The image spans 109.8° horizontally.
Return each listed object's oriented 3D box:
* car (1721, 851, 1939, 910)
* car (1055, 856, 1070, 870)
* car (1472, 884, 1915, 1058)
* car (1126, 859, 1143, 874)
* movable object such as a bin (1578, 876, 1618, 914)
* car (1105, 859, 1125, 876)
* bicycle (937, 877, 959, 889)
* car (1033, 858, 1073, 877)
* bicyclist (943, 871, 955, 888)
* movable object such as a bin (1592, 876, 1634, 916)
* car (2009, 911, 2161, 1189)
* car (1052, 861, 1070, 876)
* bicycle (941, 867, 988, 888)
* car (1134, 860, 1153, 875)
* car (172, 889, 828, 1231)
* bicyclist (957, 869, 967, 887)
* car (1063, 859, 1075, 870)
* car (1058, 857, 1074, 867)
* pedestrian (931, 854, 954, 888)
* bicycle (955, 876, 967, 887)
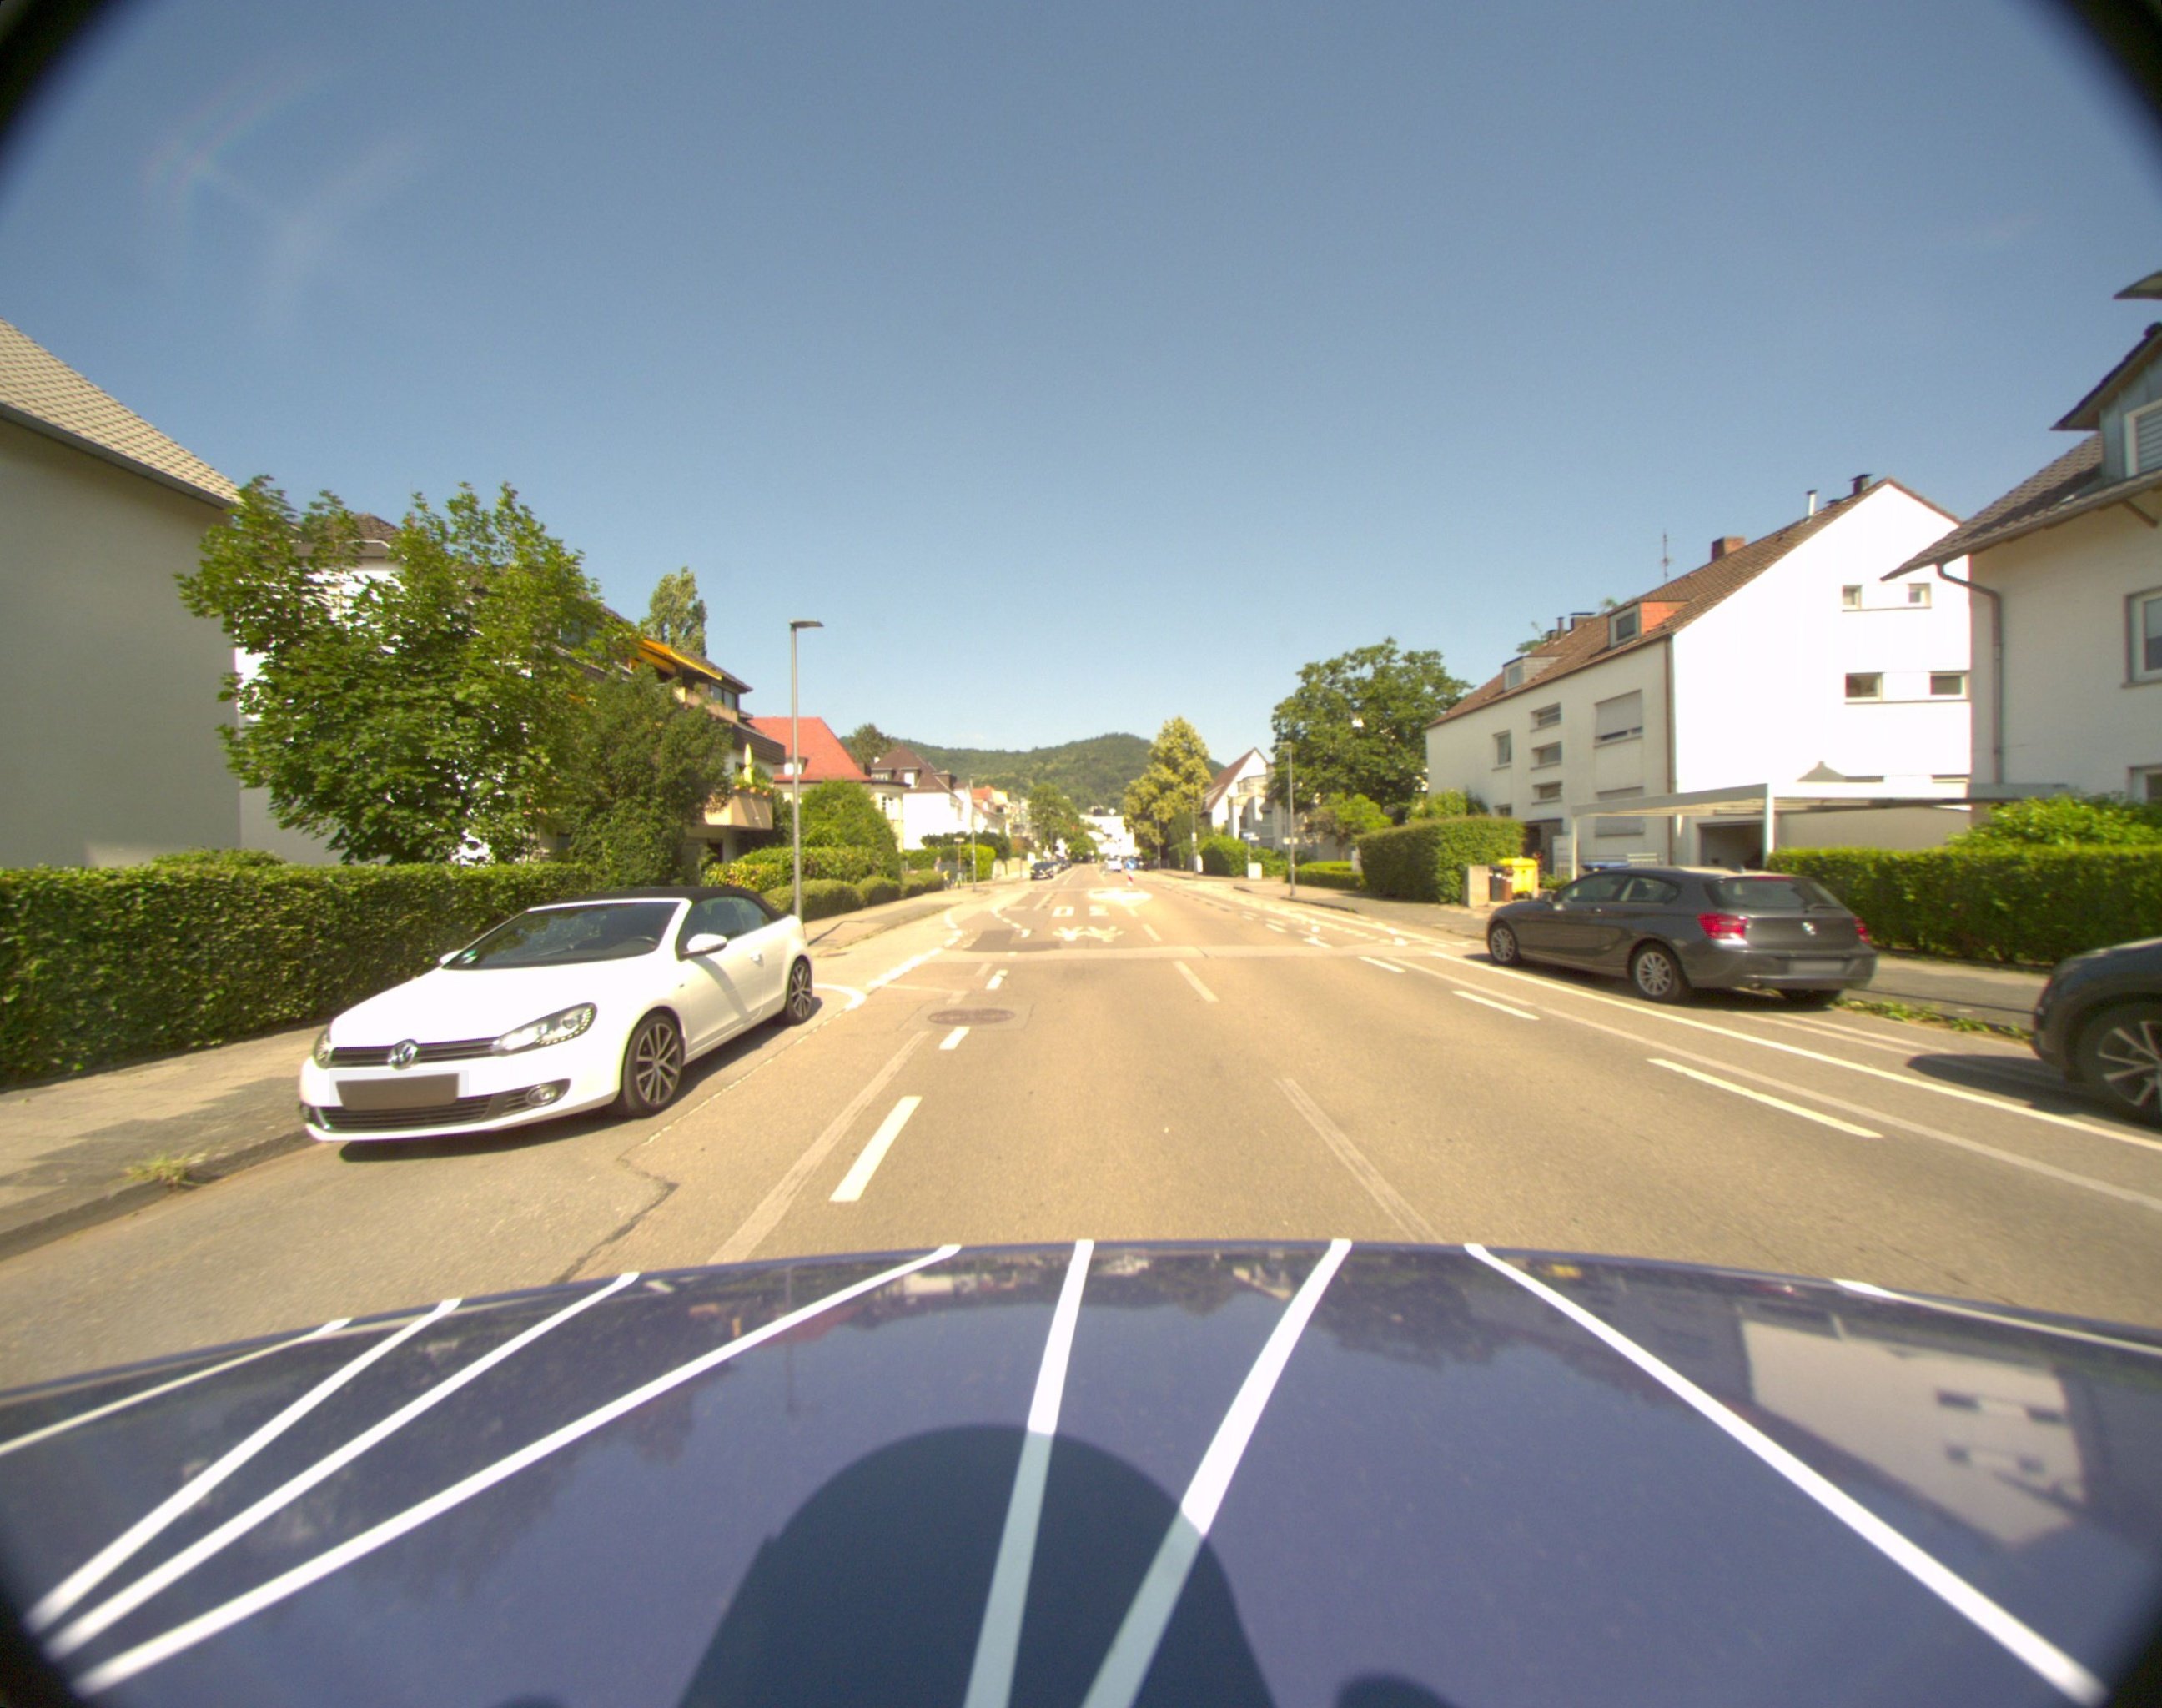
[{"bbox_3d":[19.555,0.669,19.952,3.998,1.407,1.900,-1,0,-3],"label":"car"},{"bbox_3d":[-2.217,1.084,92.149,1.726,1.440,4.168,-4,0,-1],"label":"car"},{"bbox_3d":[6.632,1.145,8.964,1.790,1.431,4.154,1,0,-2],"label":"car"},{"bbox_3d":[7.253,1.731,103.542,1.890,1.908,4.868,2,0,0],"label":"car"},{"bbox_3d":[15.317,1.198,22.515,0.702,1.085,0.707,-1,1,-3],"label":"movable object such as a bin"},{"bbox_3d":[3.621,1.457,82.466,1.920,1.657,4.505,1,0,0],"label":"car"},{"bbox_3d":[-7.135,1.551,40.621,1.151,0.596,0.402,0,0,-11],"label":"bicycle"},{"bbox_3d":[-2.196,1.067,60.784,1.738,1.459,4.351,0,0,20],"label":"car"},{"bbox_3d":[-7.061,1.363,40.614,0.609,0.928,0.399,-1,1,-11],"label":"bicyclist"},{"bbox_3d":[15.344,1.200,21.919,0.702,1.085,0.707,-1,1,-3],"label":"movable object such as a bin"},{"bbox_3d":[6.613,1.038,2.632,1.789,1.431,4.111,0,-1,1],"label":"car"},{"bbox_3d":[-2.063,1.472,79.890,1.741,1.321,4.075,-3,1,1],"label":"car"},{"bbox_3d":[-6.582,1.298,42.916,2.704,1.151,0.865,-1,0,33],"label":"bicycle"},{"bbox_3d":[7.413,1.581,90.326,1.856,1.601,4.447,-1,0,-1],"label":"car"},{"bbox_3d":[-3.522,1.105,5.758,1.745,1.394,4.074,-3,0,0],"label":"car"},{"bbox_3d":[-6.552,1.317,41.919,0.403,0.924,0.656,-1,1,-20],"label":"bicyclist"},{"bbox_3d":[-1.917,1.652,122.328,1.701,1.573,4.900,-3,0,-2],"label":"car"},{"bbox_3d":[-2.117,1.115,108.396,1.622,1.440,4.002,0,0,7],"label":"car"},{"bbox_3d":[-7.843,0.959,43.045,0.903,1.861,1.186,-1,1,-32],"label":"pedestrian"},{"bbox_3d":[-6.573,1.511,41.733,0.403,0.596,1.171,0,0,-21],"label":"bicycle"}]
